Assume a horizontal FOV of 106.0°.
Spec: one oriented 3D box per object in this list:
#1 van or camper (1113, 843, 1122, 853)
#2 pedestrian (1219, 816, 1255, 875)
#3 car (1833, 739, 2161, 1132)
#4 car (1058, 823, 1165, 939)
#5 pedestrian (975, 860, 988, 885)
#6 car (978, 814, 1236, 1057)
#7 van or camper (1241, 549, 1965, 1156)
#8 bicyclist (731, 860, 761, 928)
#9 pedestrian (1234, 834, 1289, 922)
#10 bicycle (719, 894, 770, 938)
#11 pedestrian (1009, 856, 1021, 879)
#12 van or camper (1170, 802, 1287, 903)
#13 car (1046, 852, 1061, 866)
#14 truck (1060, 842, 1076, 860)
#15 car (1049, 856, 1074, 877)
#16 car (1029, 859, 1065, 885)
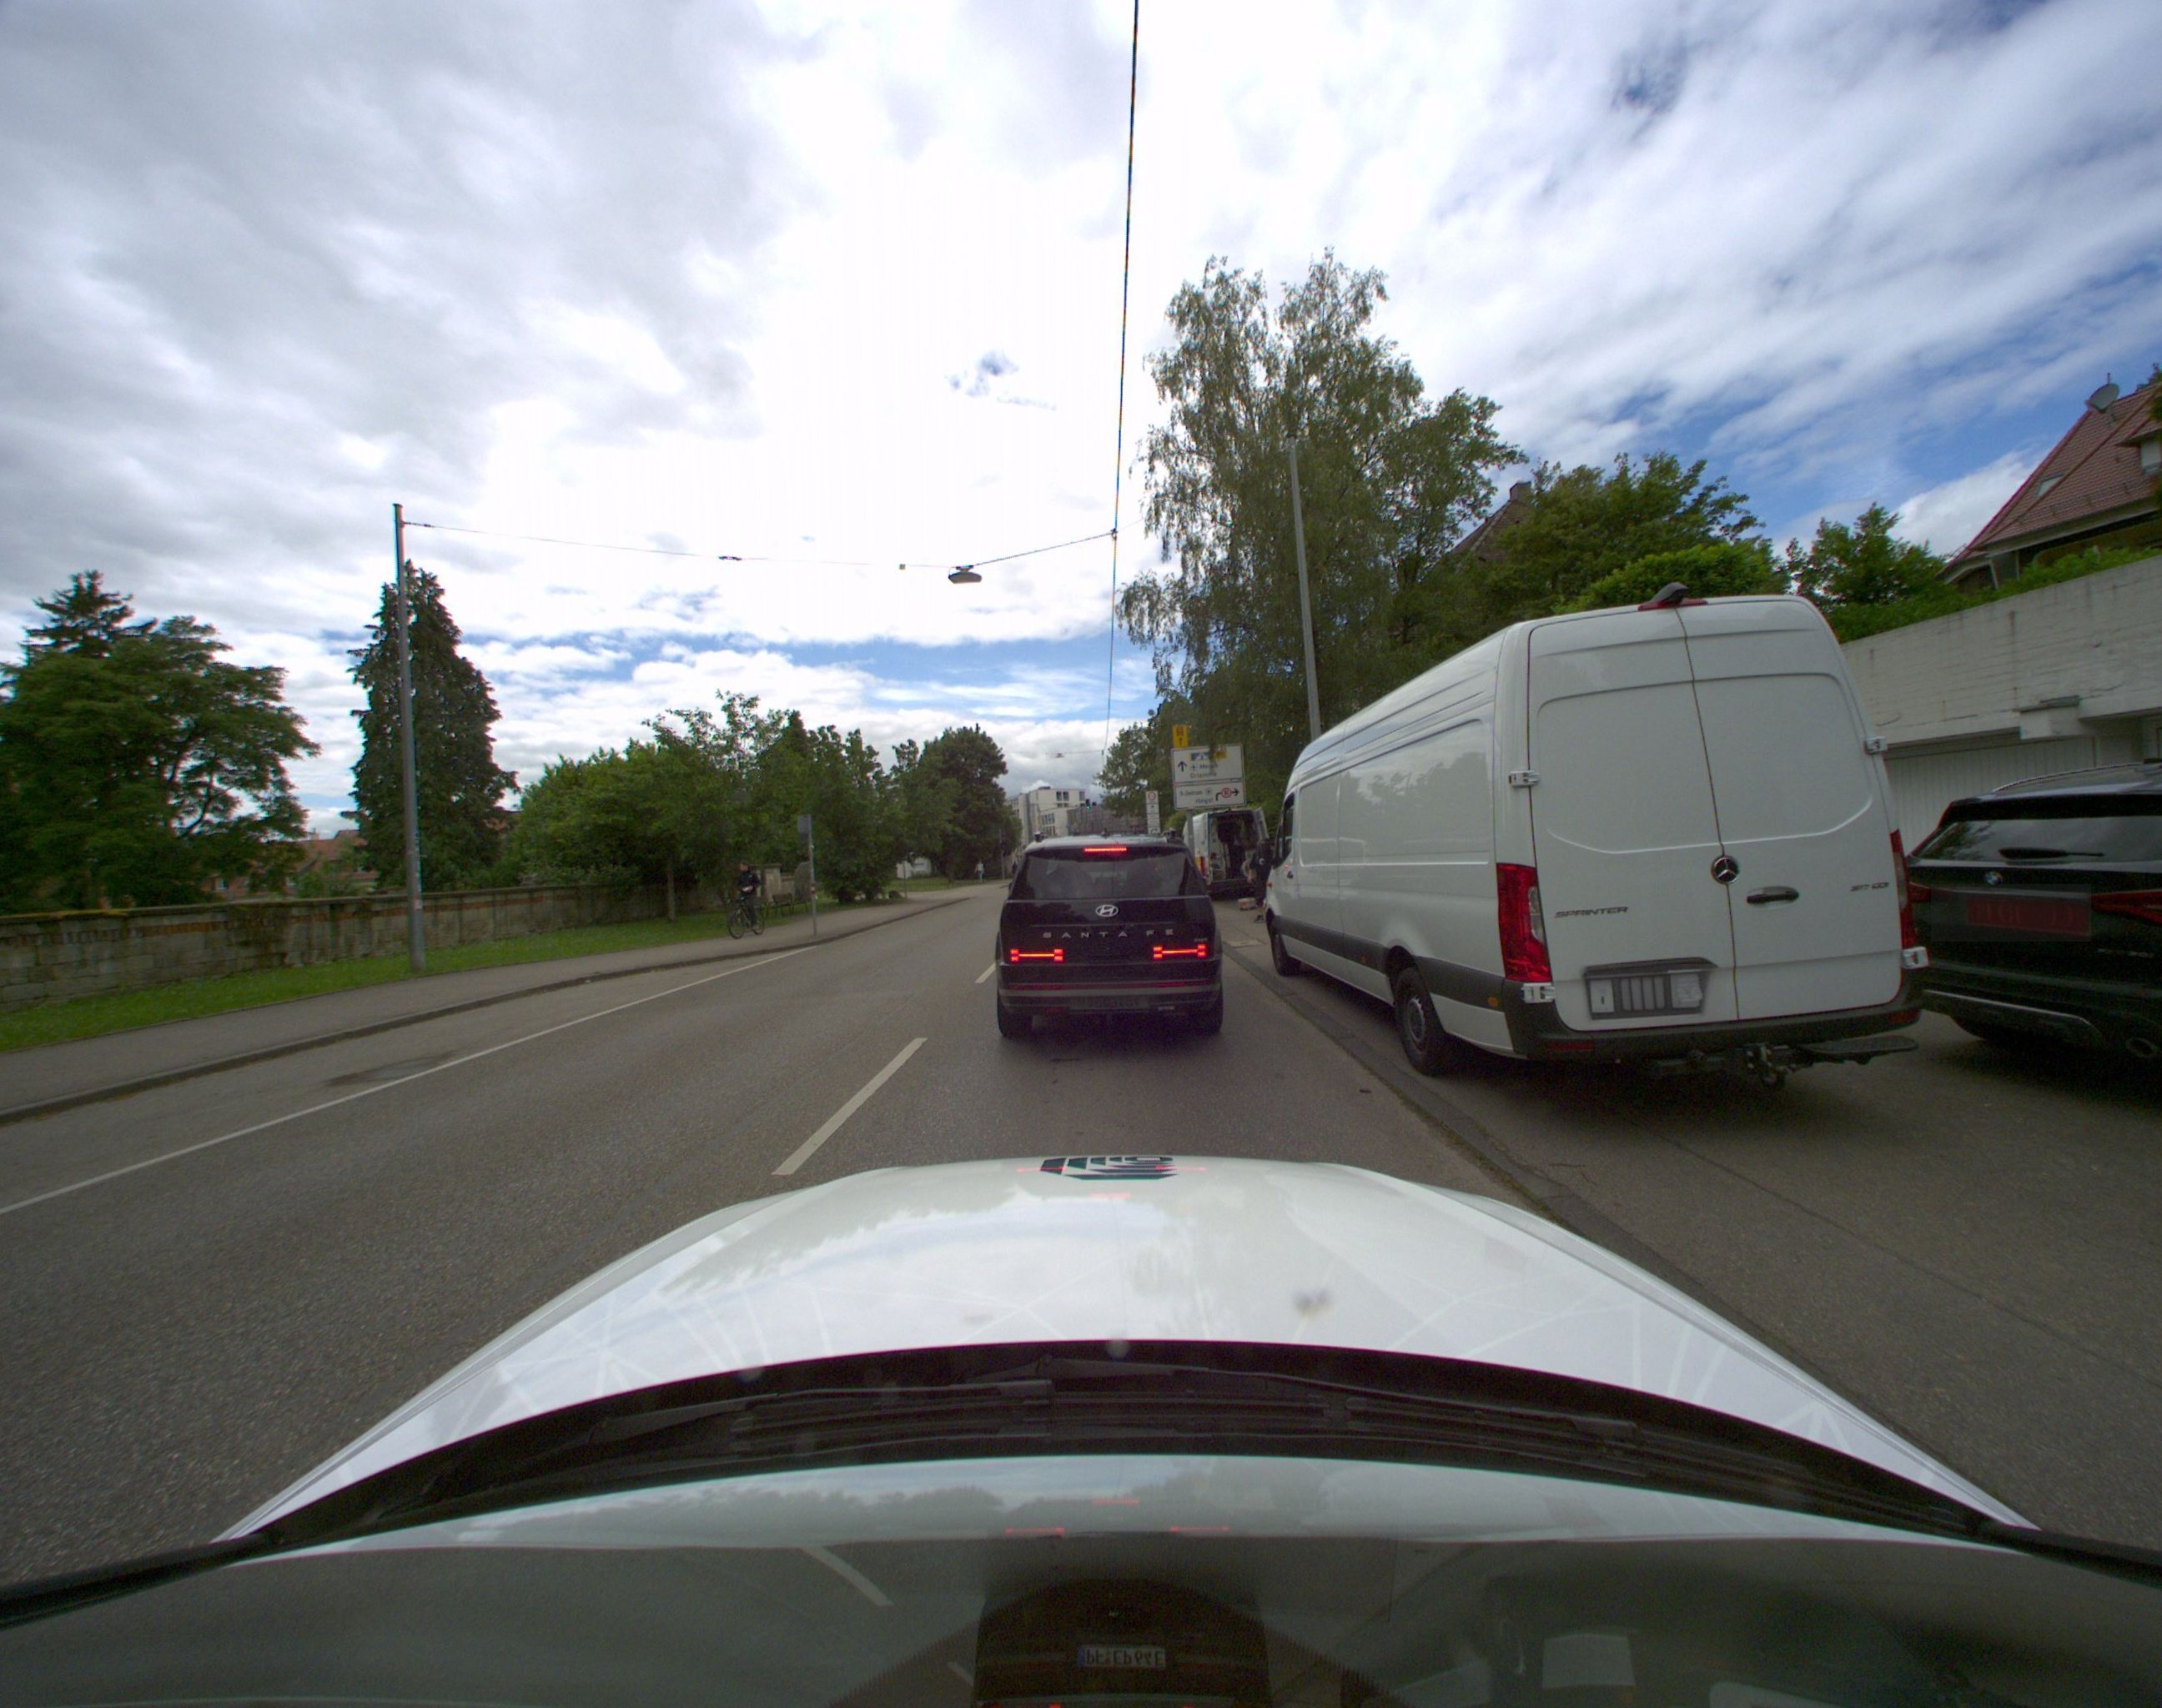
[{"bbox_3d":[7.721,-1.192,172.582,1.791,1.999,3.821,0,-1,-2],"label":"van or camper"},{"bbox_3d":[4.580,-0.255,23.930,0.791,1.643,0.743,-5,-1,22],"label":"pedestrian"},{"bbox_3d":[6.780,0.214,4.048,4.365,1.675,1.696,-4,-1,2],"label":"car"},{"bbox_3d":[0.607,0.495,16.454,1.890,2.042,3.995,0,-1,2],"label":"car"},{"bbox_3d":[-7.270,1.336,59.571,0.764,1.748,0.904,-2,-1,1],"label":"pedestrian"},{"bbox_3d":[0.254,0.617,7.990,1.890,1.776,3.995,0,-1,2],"label":"car"},{"bbox_3d":[3.053,0.017,7.053,1.984,2.625,6.546,-6,-1,2],"label":"van or camper"},{"bbox_3d":[-8.359,0.983,20.329,0.486,1.684,0.588,0,-1,1],"label":"bicyclist"},{"bbox_3d":[3.632,0.468,16.418,0.791,1.721,0.748,0,-1,-18],"label":"pedestrian"},{"bbox_3d":[-8.354,1.524,20.304,0.493,0.964,1.749,0,-1,2],"label":"bicycle"},{"bbox_3d":[-5.851,1.198,72.103,0.826,2.014,1.048,0,-1,4],"label":"pedestrian"},{"bbox_3d":[4.335,0.017,25.311,2.332,2.494,6.603,-6,-1,1],"label":"van or camper"},{"bbox_3d":[-4.839,0.816,144.491,2.328,2.315,4.950,-3,0,-4],"label":"car"},{"bbox_3d":[-3.048,-0.548,187.483,3.102,3.859,9.606,-3,0,-4],"label":"truck"},{"bbox_3d":[-1.515,0.975,64.477,1.695,1.483,4.001,-5,-1,2],"label":"car"},{"bbox_3d":[-2.062,1.087,50.191,1.750,1.403,4.416,-5,-1,2],"label":"car"}]
